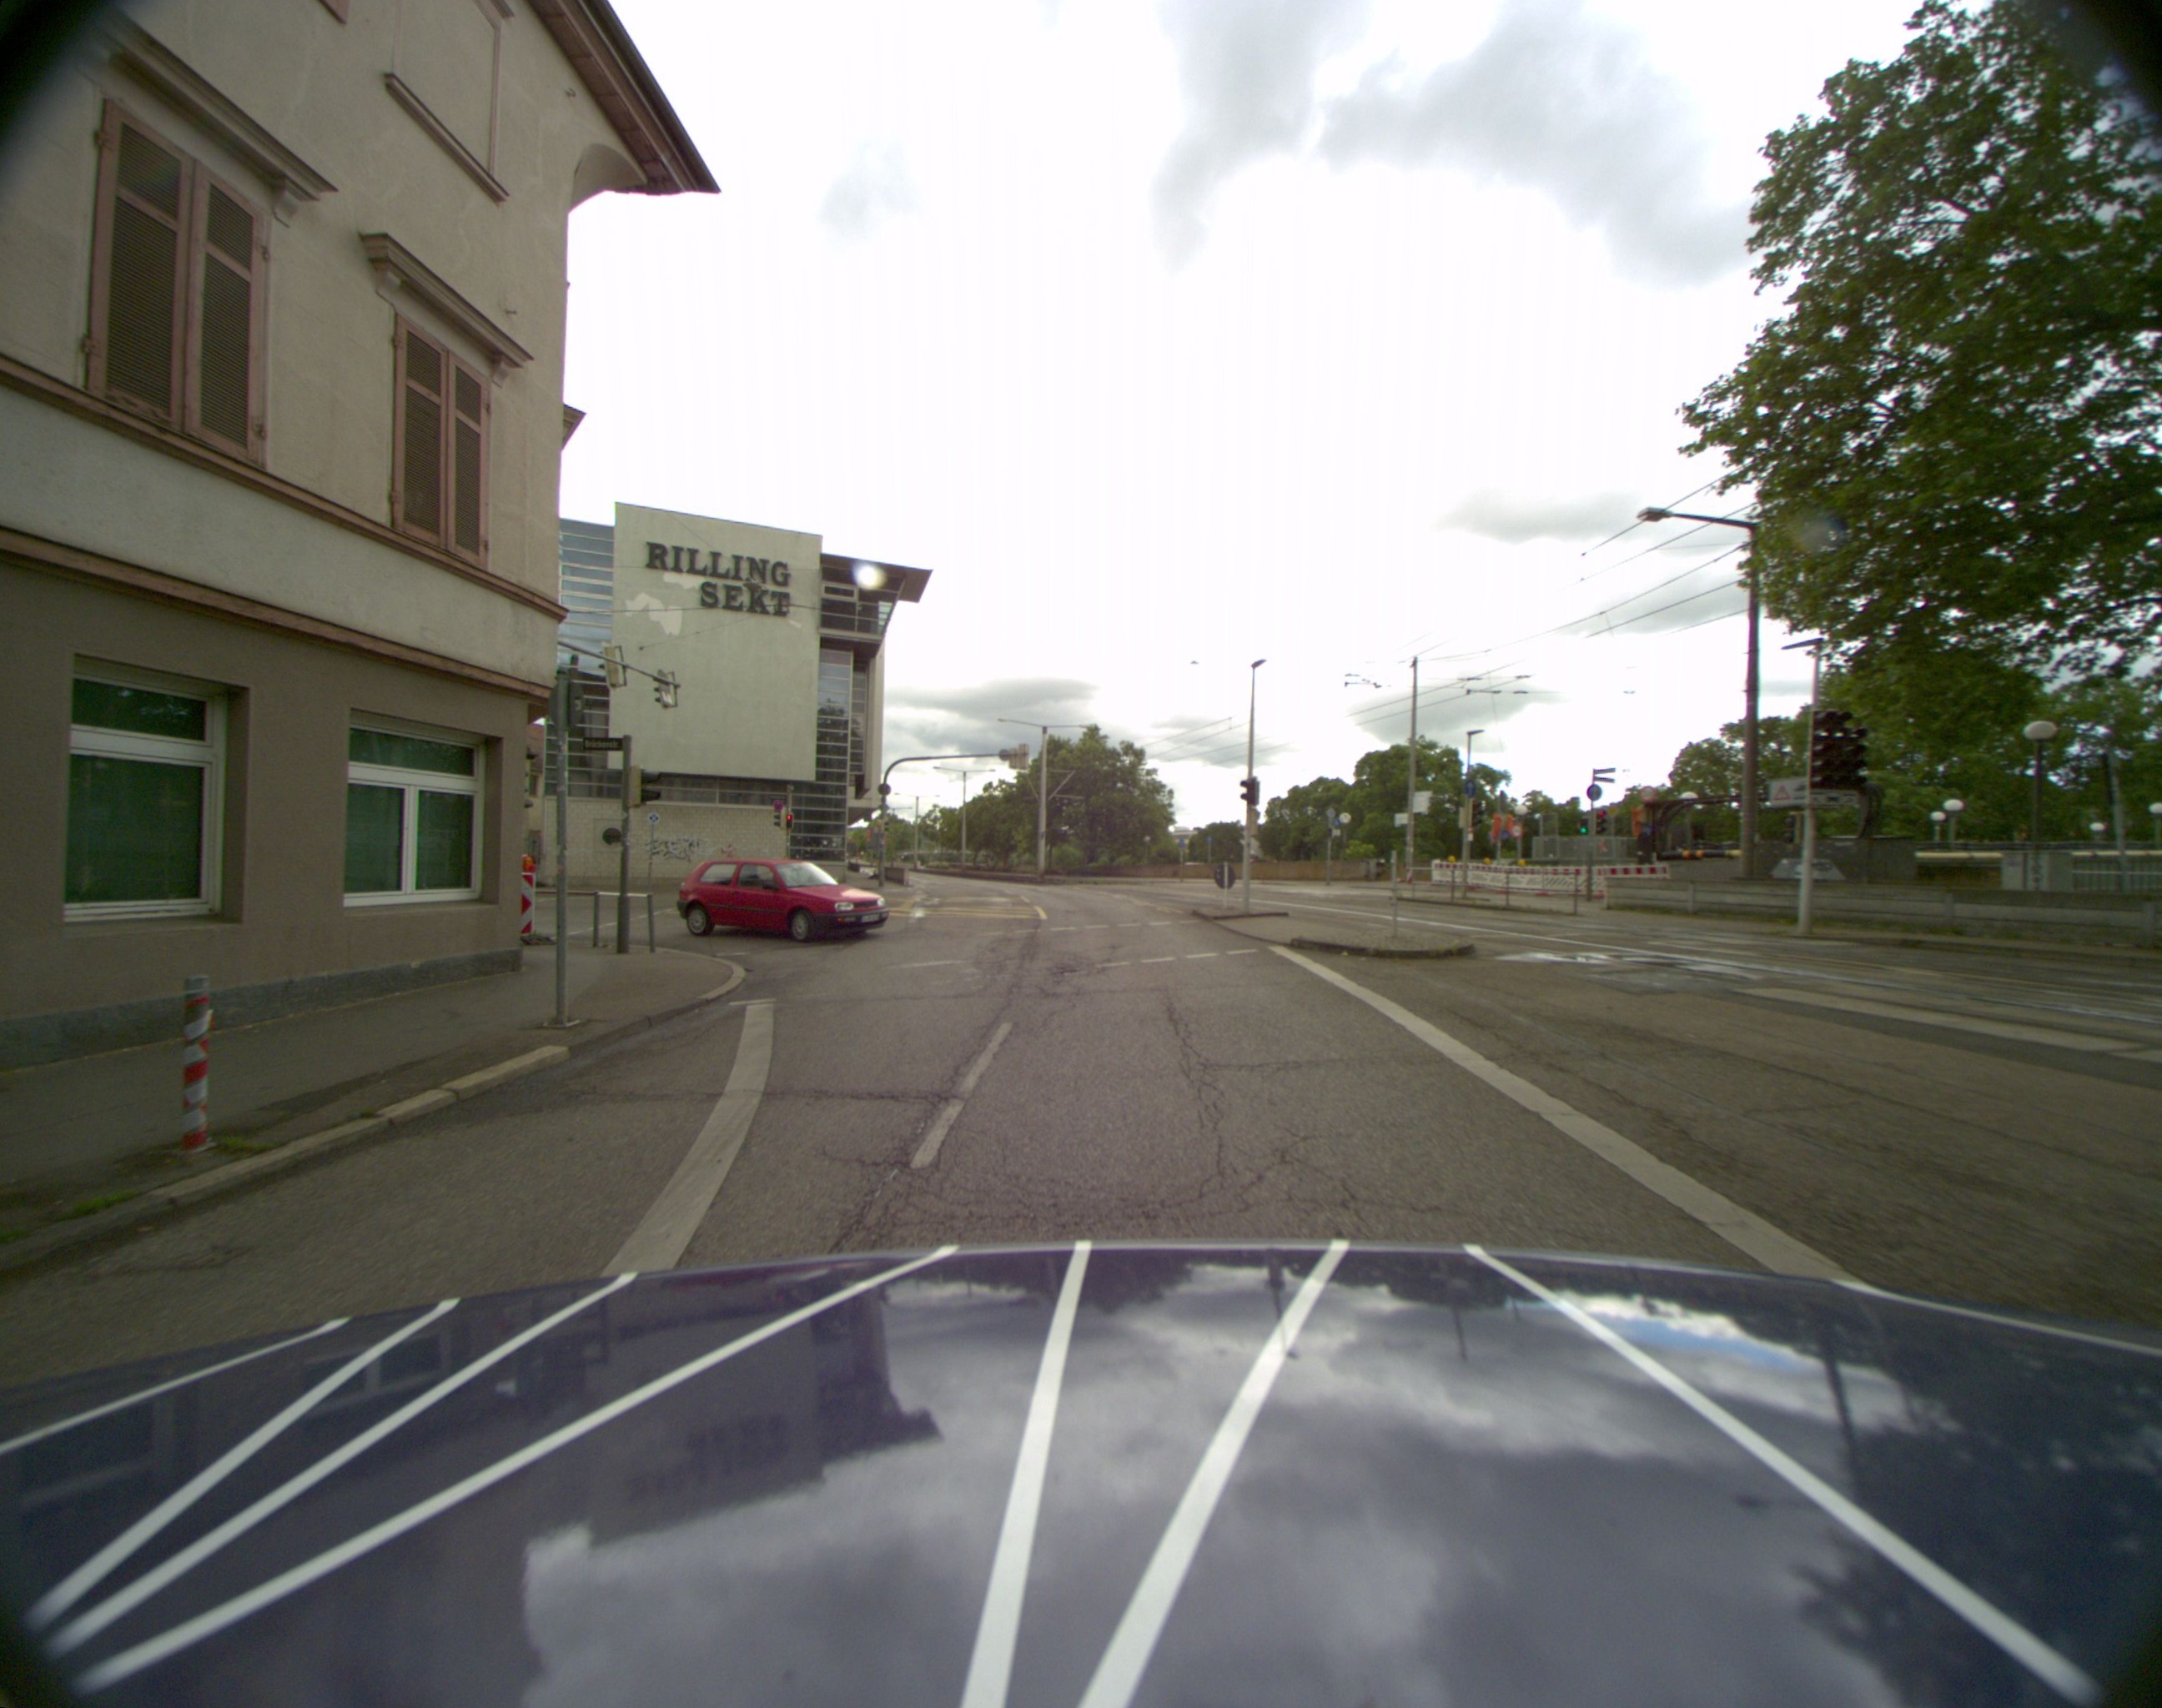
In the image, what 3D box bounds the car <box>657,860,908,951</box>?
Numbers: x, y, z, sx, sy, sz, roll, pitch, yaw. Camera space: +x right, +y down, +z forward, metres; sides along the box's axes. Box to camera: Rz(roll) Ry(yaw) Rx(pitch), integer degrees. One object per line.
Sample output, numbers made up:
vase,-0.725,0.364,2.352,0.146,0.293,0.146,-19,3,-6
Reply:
car,-5.547,0.872,14.197,4.163,1.414,1.854,0,2,21
